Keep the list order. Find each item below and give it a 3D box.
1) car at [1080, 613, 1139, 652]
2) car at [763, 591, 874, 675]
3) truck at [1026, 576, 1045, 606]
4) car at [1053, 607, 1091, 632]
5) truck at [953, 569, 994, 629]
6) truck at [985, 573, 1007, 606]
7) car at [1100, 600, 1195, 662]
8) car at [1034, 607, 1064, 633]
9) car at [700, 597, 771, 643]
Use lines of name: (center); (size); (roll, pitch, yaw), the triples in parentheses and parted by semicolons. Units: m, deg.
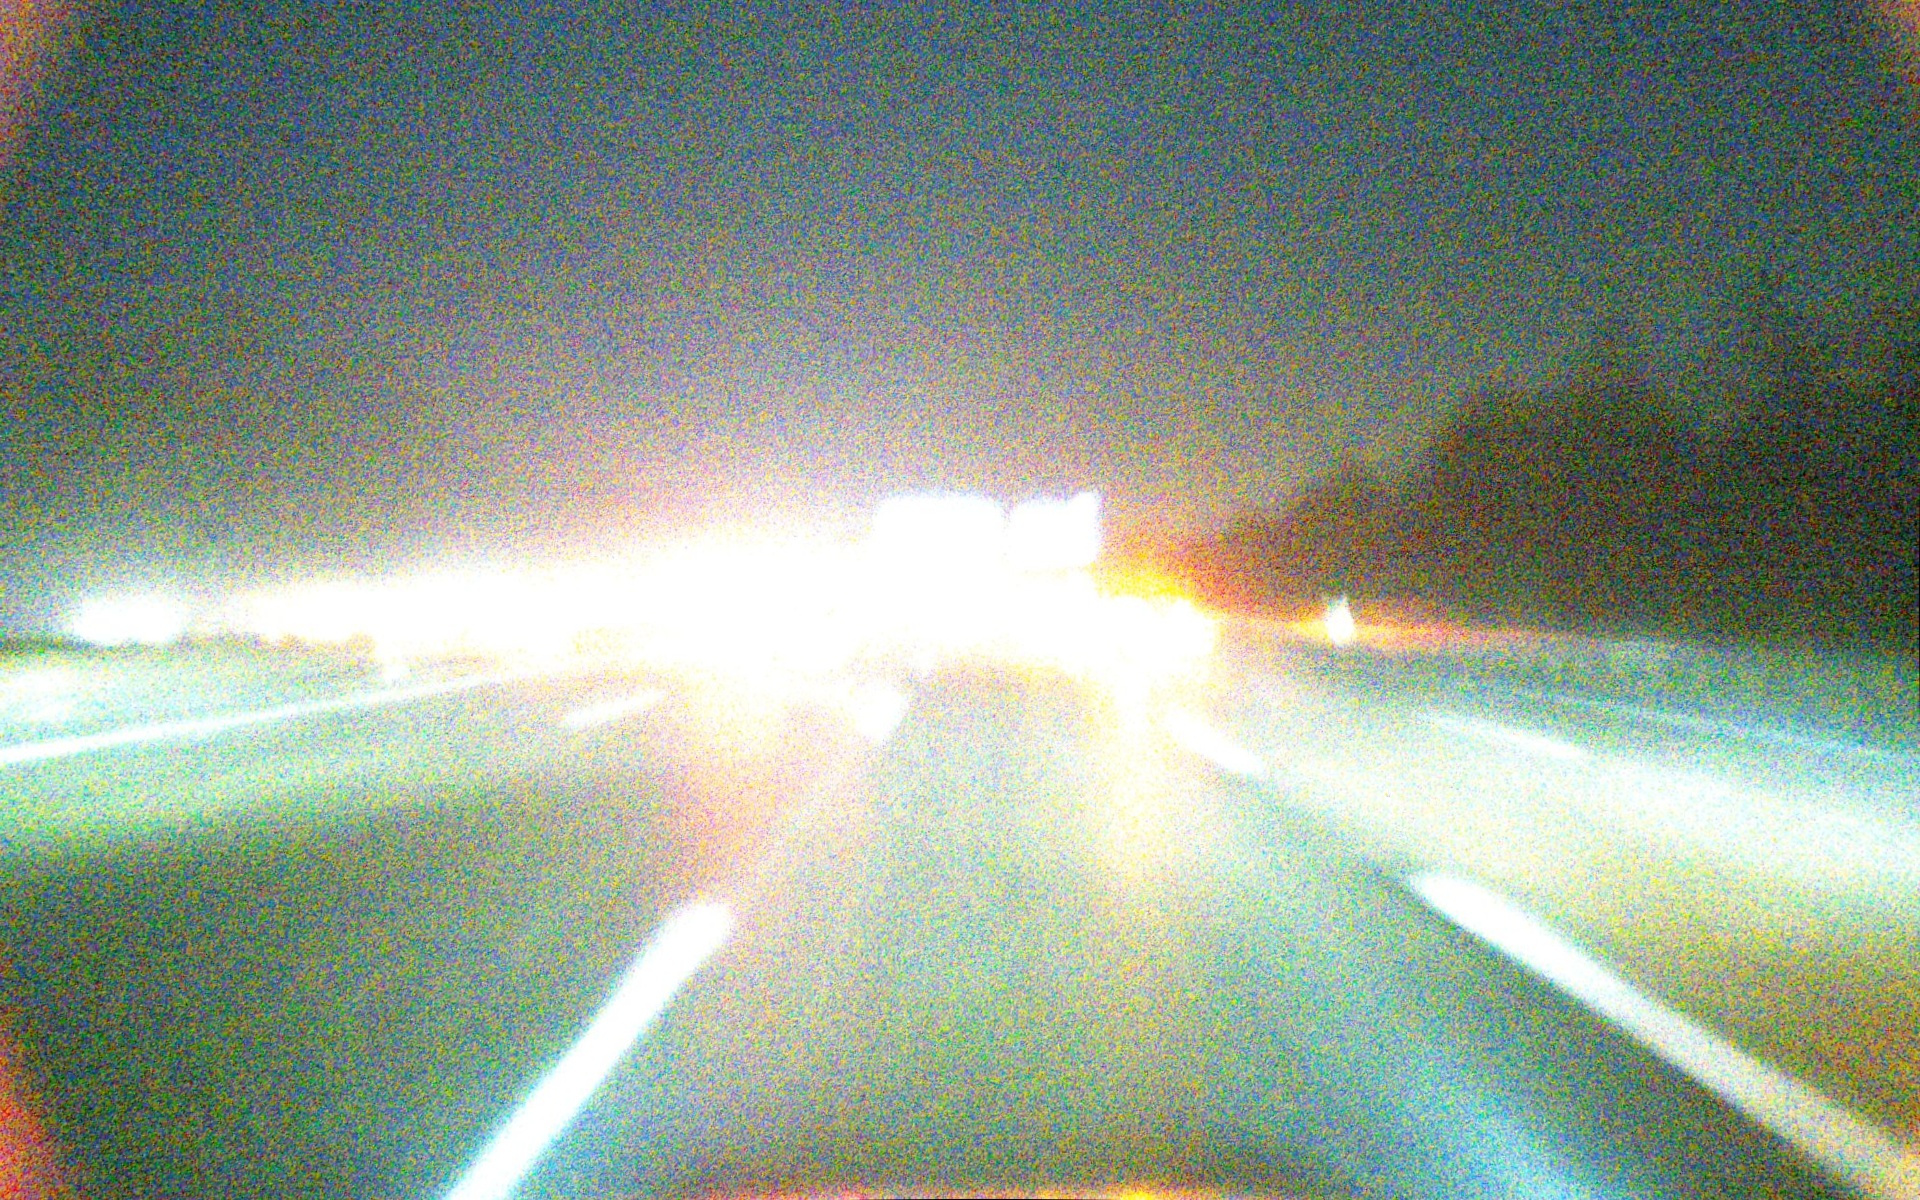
car: (5.010, 1.079, 55.632); (1.549, 1.268, 3.066); (1, -1, -3)
car: (-2.687, 0.587, 32.199); (1.765, 1.513, 4.000); (0, 0, 1)
truck: (8.388, -1.003, 185.248); (1.952, 3.096, 6.466); (-2, -1, 2)
car: (5.710, 0.999, 84.789); (1.549, 1.268, 3.066); (1, -1, -3)
truck: (0.769, 0.018, 91.321); (1.952, 3.096, 6.466); (-2, -1, 2)
truck: (3.623, -1.028, 164.911); (1.952, 3.096, 6.466); (-2, -1, 2)
car: (4.051, 0.656, 36.083); (1.549, 1.268, 3.066); (1, -1, -3)
car: (5.757, 1.289, 107.065); (1.824, 1.646, 4.001); (1, -1, 2)
car: (-6.747, 0.618, 49.977); (1.628, 1.258, 3.760); (-2, -1, -1)
